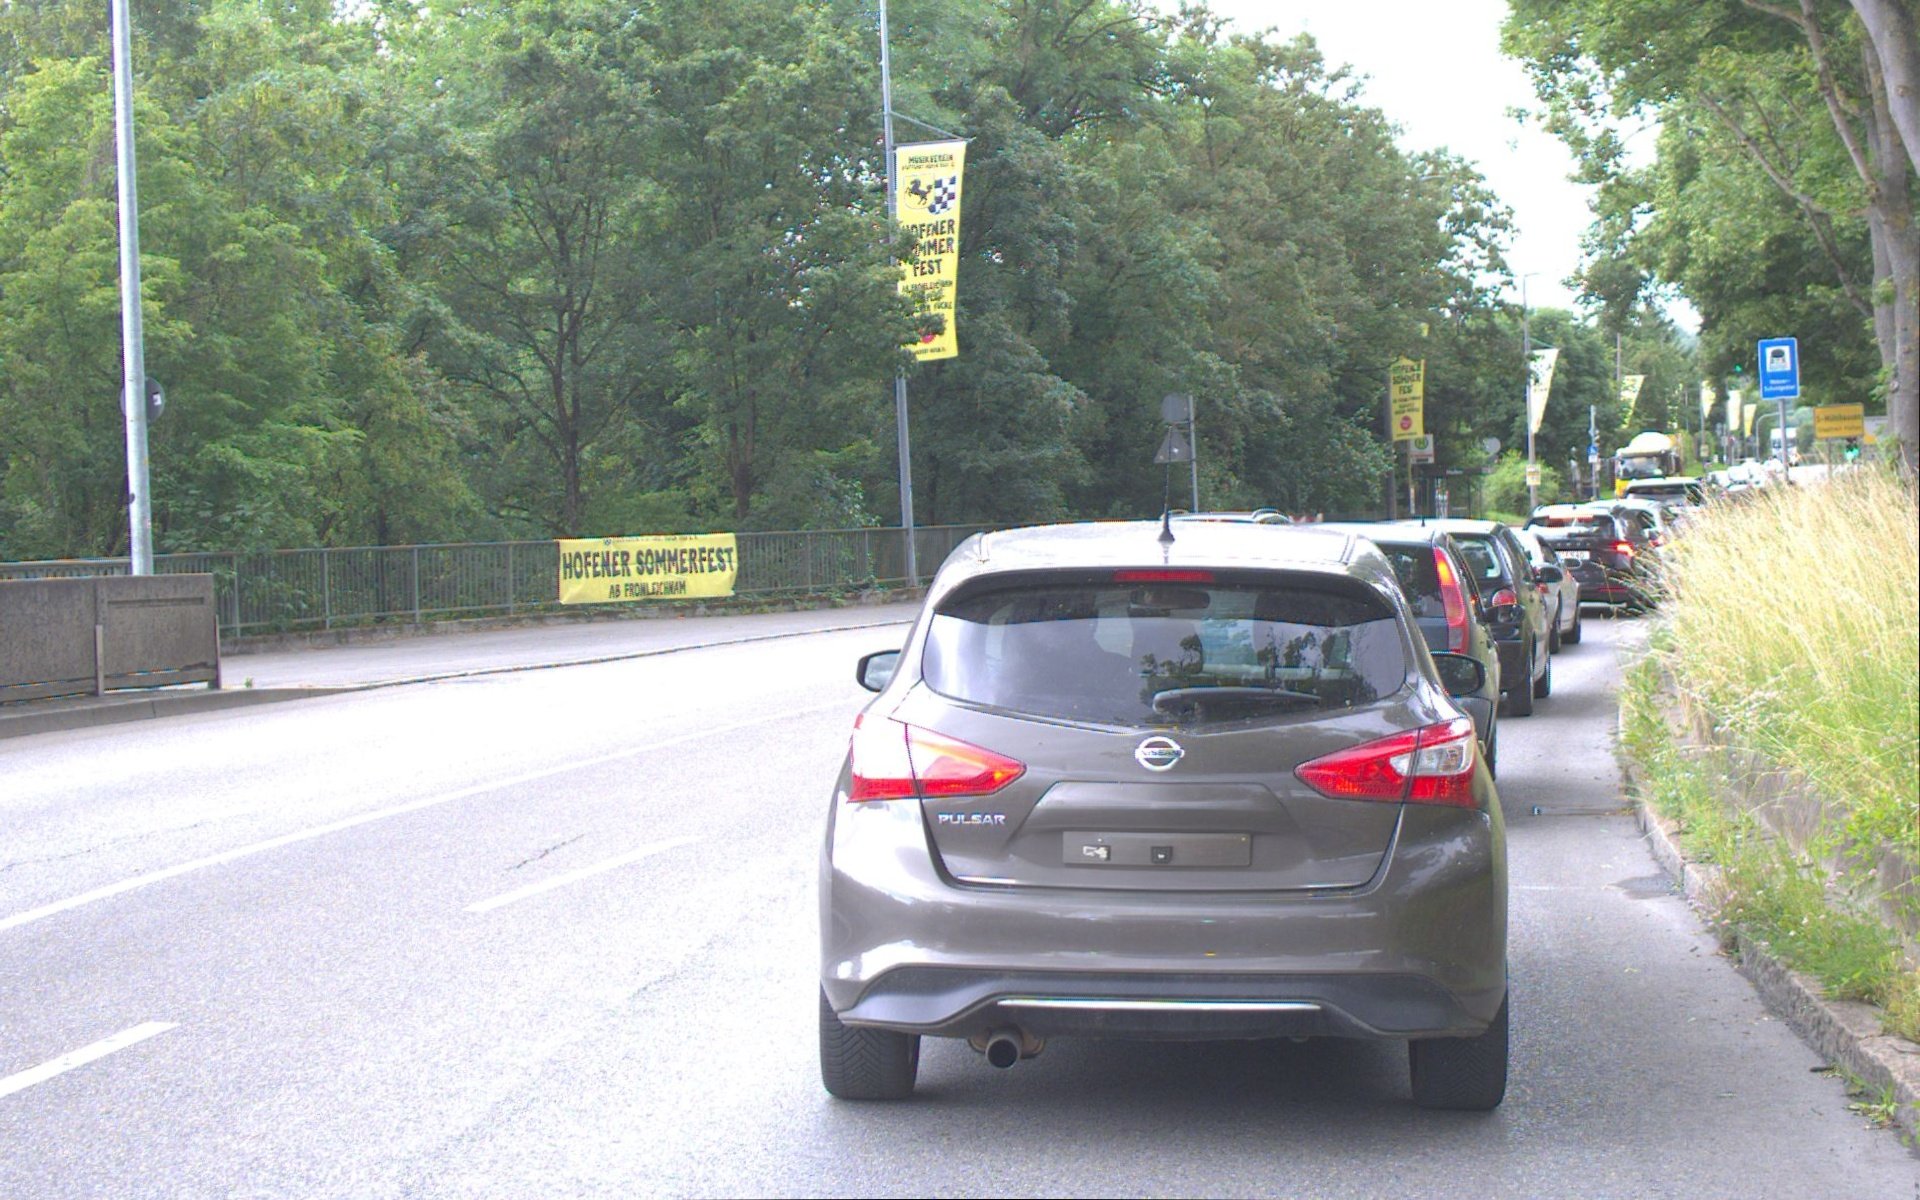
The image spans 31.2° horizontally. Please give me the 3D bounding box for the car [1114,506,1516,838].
[{"bbox_3d":[1.966,0.333,18.356,1.893,1.568,3.999,0,0,8],"label":"car"}]

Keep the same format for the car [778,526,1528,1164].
[{"bbox_3d":[0.713,0.558,10.157,1.775,1.489,3.999,0,0,8],"label":"car"}]

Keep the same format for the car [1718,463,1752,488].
[{"bbox_3d":[47.990,-7.700,212.816,1.819,1.457,3.997,-1,1,16],"label":"car"}]

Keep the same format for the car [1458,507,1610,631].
[{"bbox_3d":[7.528,-0.416,44.844,1.805,1.535,3.998,1,1,12],"label":"car"}]

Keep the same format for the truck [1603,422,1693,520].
[{"bbox_3d":[28.893,-5.366,144.077,2.657,3.925,10.103,0,2,17],"label":"truck"}]

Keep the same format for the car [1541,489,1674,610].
[{"bbox_3d":[9.802,-0.720,51.865,1.719,1.687,3.997,-2,-1,14],"label":"car"}]

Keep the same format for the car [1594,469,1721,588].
[{"bbox_3d":[12.367,-1.279,60.828,1.892,2.007,3.997,-1,1,16],"label":"car"}]

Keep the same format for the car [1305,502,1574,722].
[{"bbox_3d":[3.775,0.053,26.574,1.579,1.533,3.998,-2,1,14],"label":"car"}]

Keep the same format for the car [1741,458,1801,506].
[{"bbox_3d":[28.908,-4.186,122.456,1.892,1.647,3.997,-1,1,16],"label":"car"}]

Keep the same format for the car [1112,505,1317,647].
[{"bbox_3d":[2.926,-0.273,38.731,1.852,1.481,4.419,-1,0,10],"label":"car"}]

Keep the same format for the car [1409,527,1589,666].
[{"bbox_3d":[5.756,-0.068,36.472,1.501,1.359,3.585,-2,1,15],"label":"car"}]

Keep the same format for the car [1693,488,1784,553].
[{"bbox_3d":[18.345,-1.879,80.901,1.892,1.440,3.804,-1,1,16],"label":"car"}]
